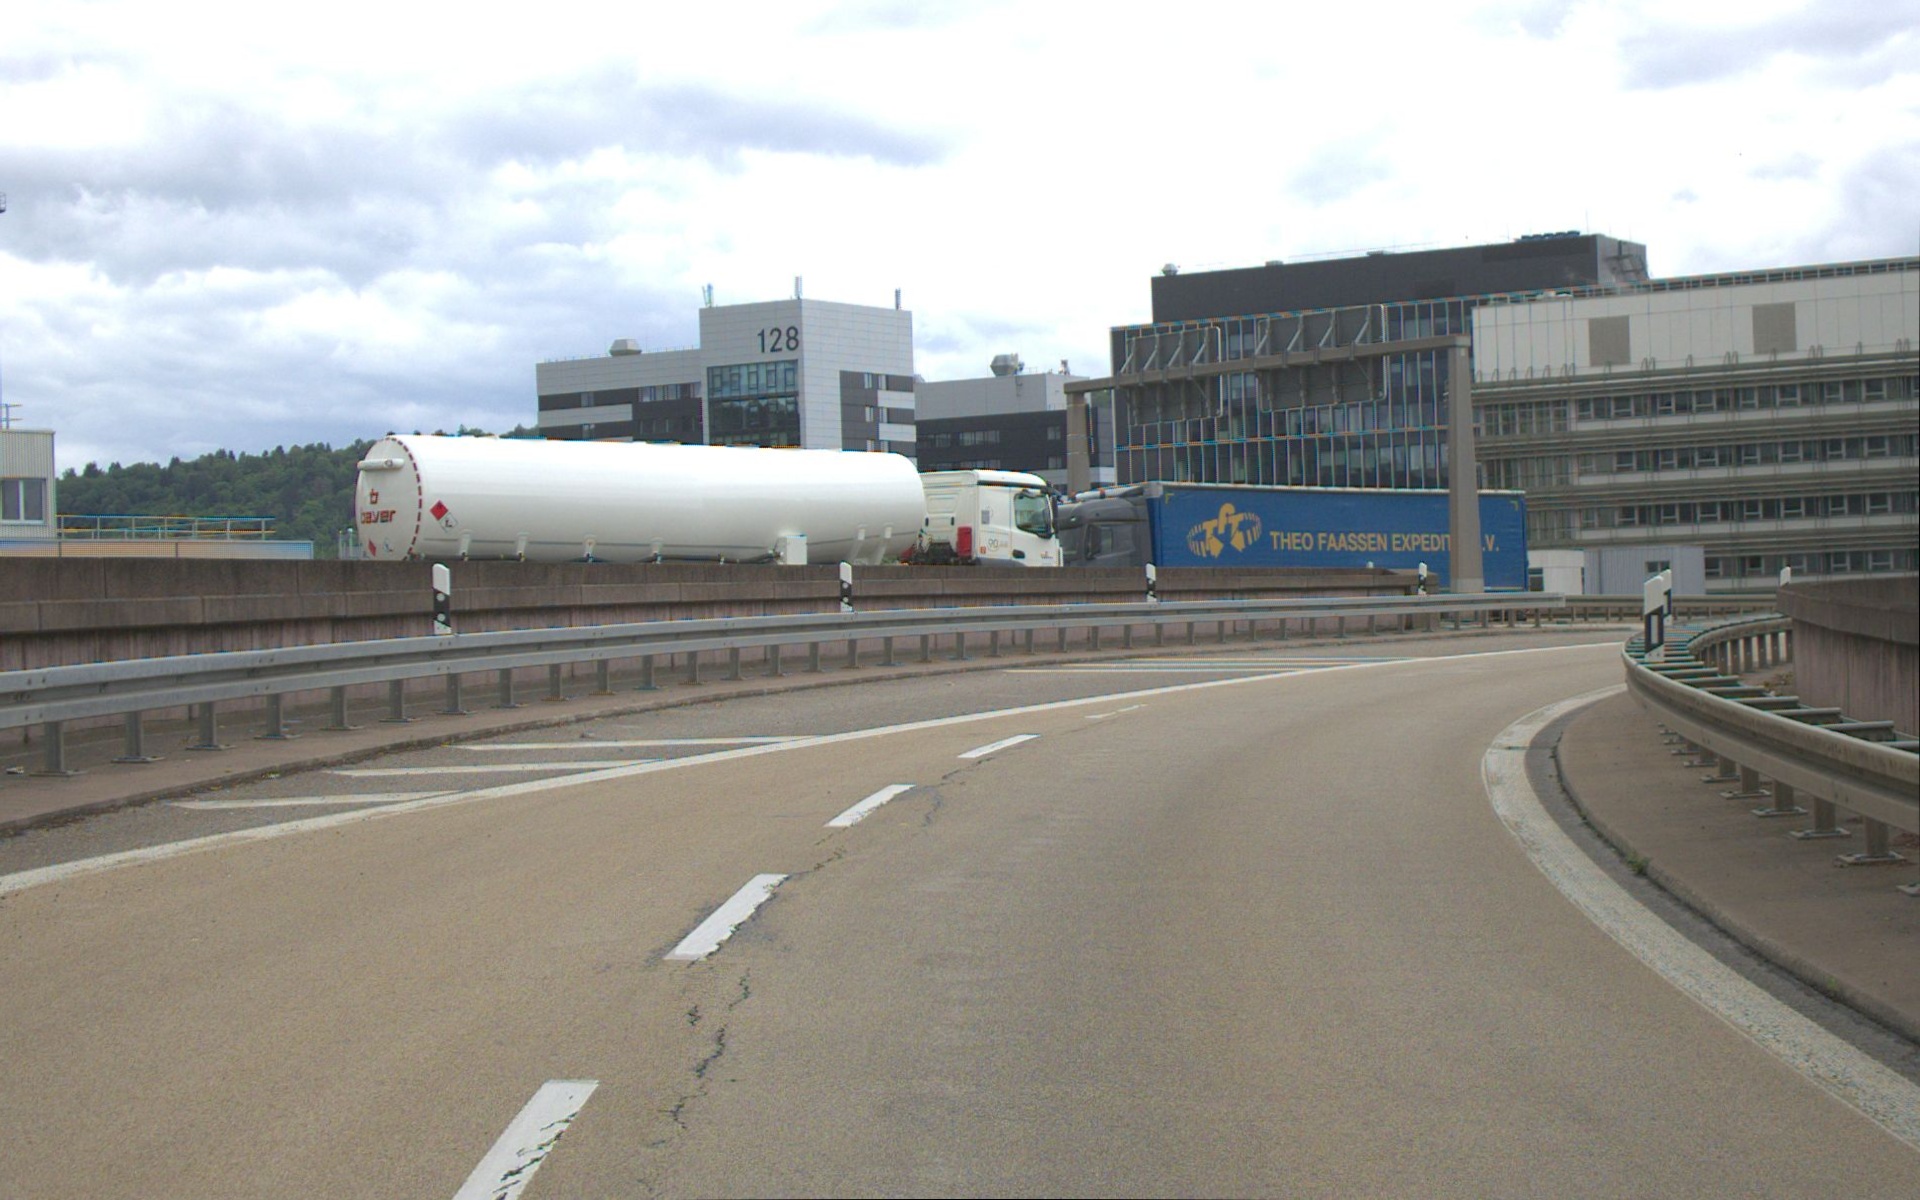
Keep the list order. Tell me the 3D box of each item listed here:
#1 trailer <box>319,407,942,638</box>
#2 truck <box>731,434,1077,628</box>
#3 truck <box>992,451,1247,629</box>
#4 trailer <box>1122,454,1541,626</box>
[{"bbox_3d":[-5.585,-1.326,60.486,11.122,3.725,2.800,-1,0,-39],"label":"trailer"},{"bbox_3d":[-0.998,-1.258,64.168,5.947,3.419,2.777,-1,0,-39],"label":"truck"},{"bbox_3d":[4.077,-1.496,87.428,5.677,4.332,3.171,-1,0,-38],"label":"truck"},{"bbox_3d":[10.123,-1.601,92.186,12.480,4.332,3.170,-1,0,-38],"label":"trailer"}]
